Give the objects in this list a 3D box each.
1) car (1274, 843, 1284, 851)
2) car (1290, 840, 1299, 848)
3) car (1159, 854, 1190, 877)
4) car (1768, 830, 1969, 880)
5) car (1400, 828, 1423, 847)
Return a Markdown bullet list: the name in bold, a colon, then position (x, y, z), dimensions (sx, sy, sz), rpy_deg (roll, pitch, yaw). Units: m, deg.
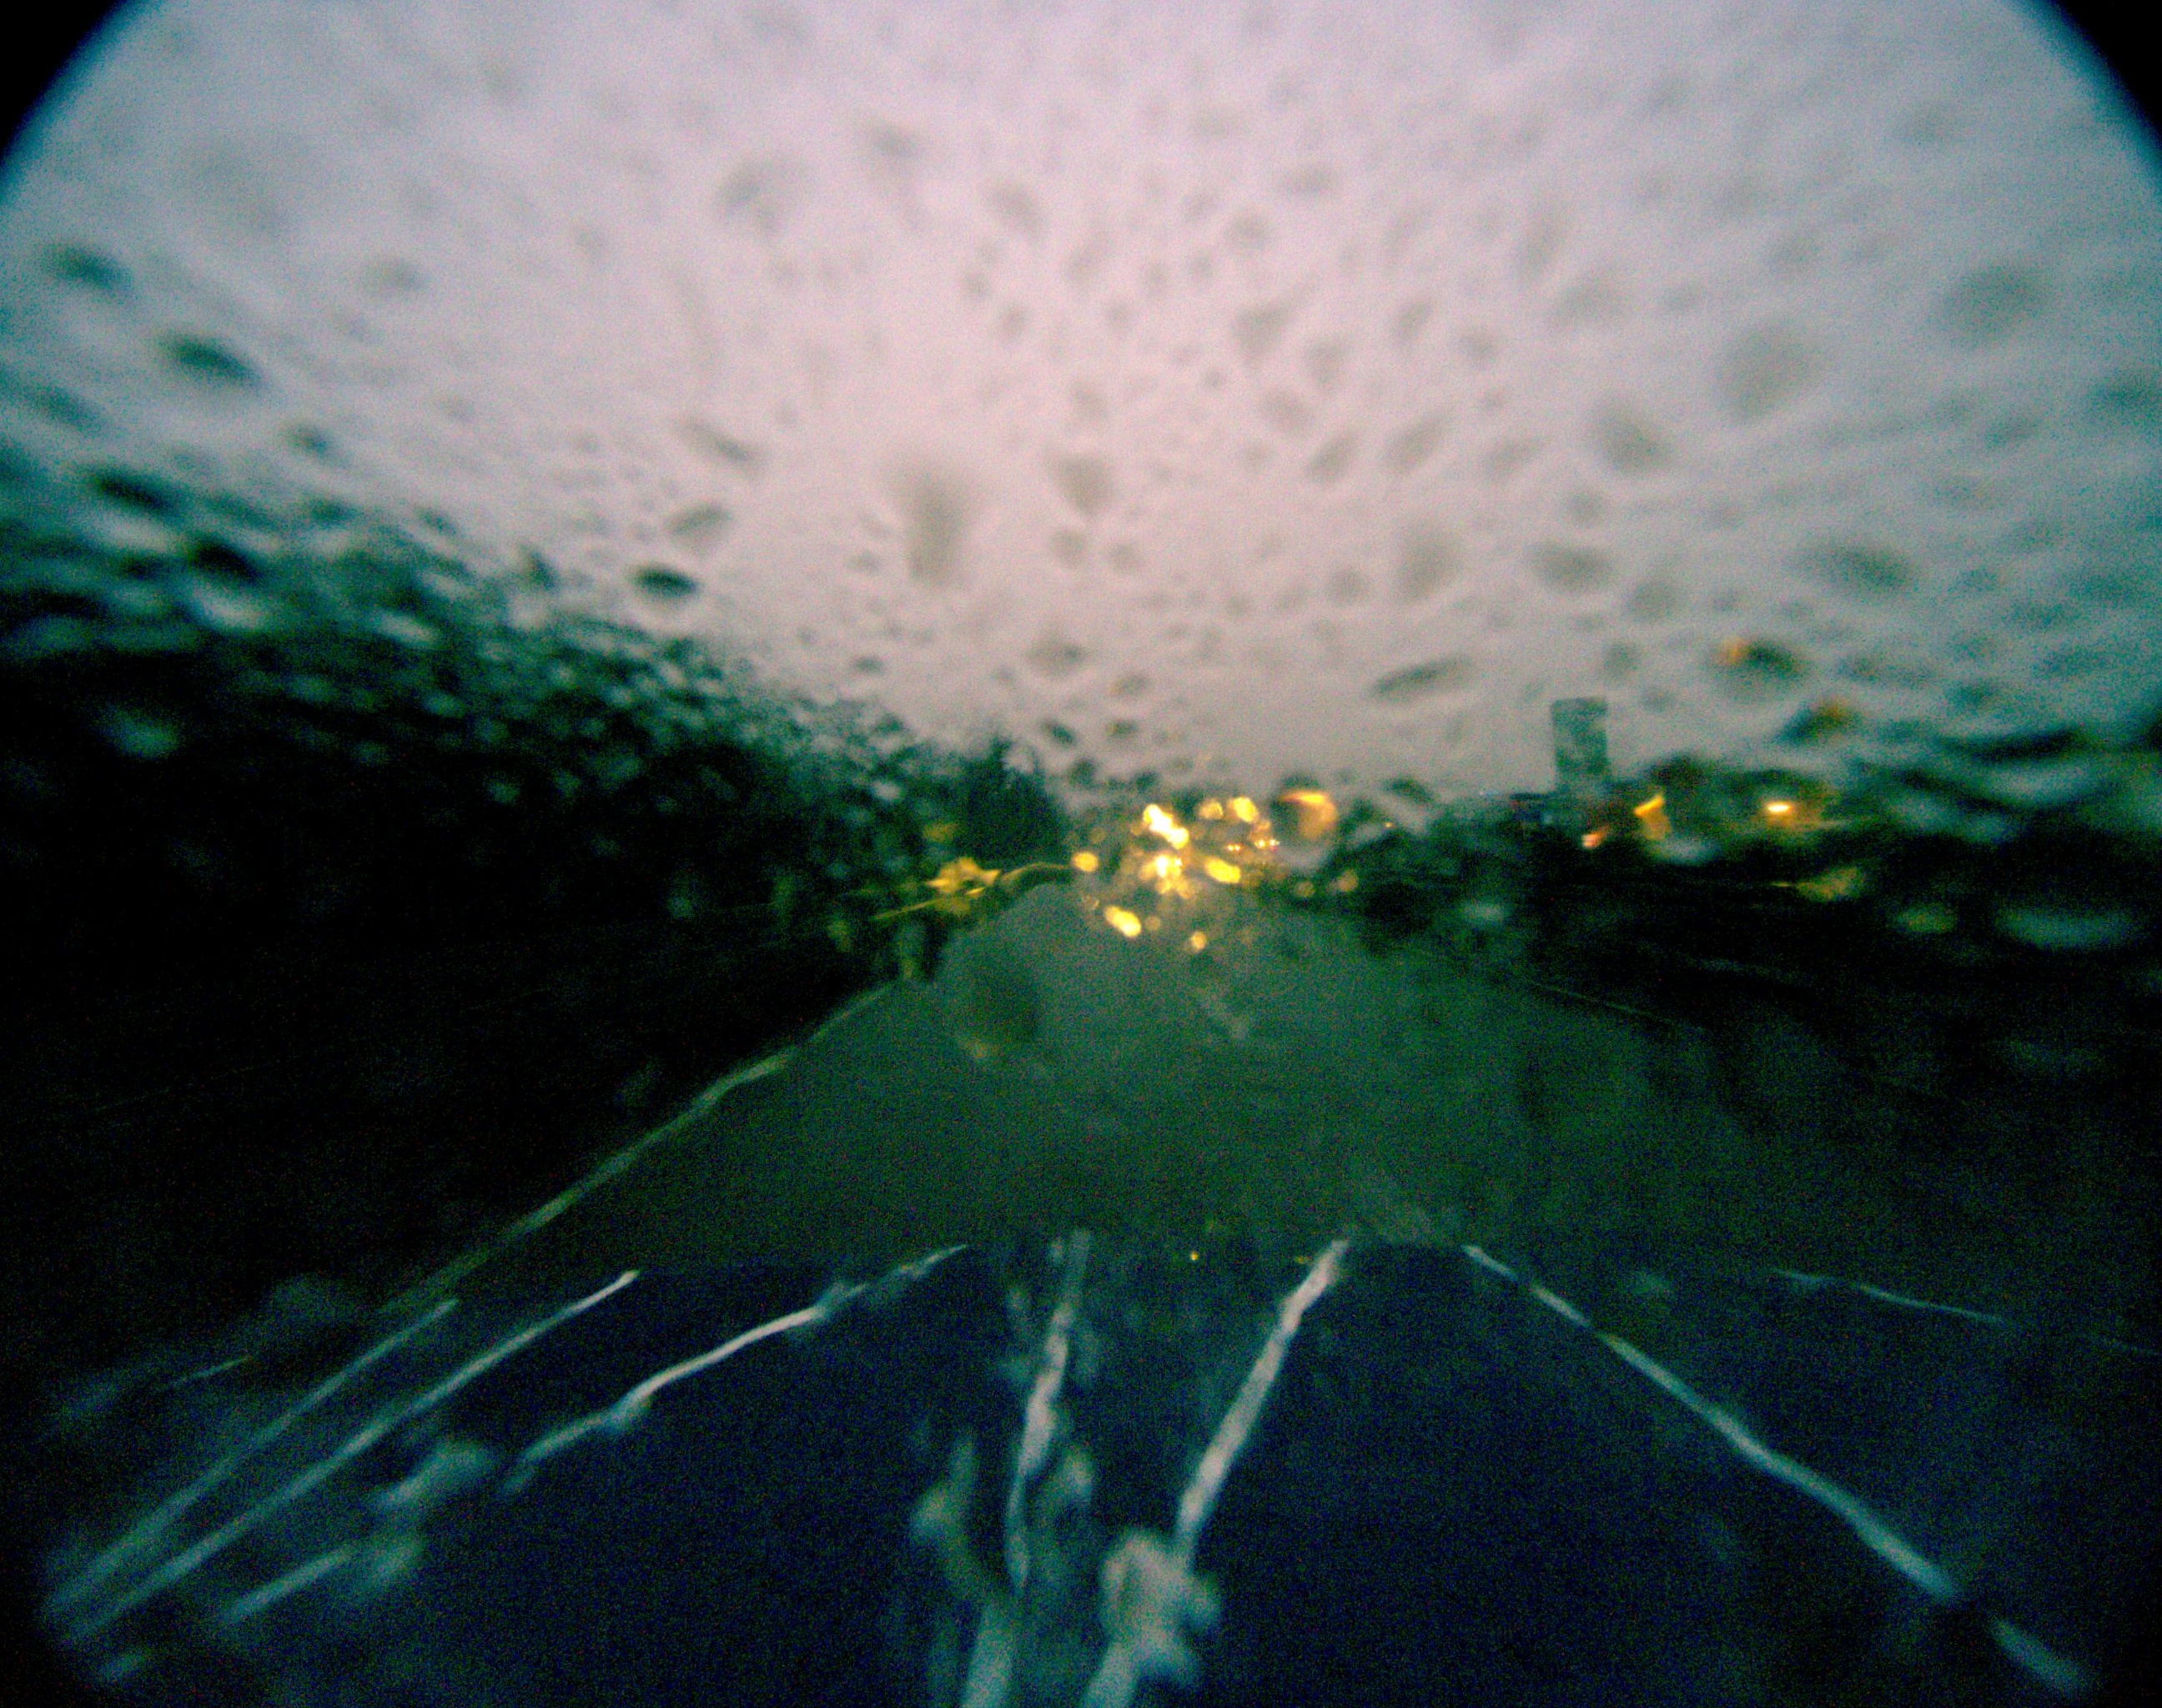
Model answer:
- **car**: position (37.102, -1.234, 142.175), dimensions (1.673, 1.412, 4.086), rpy_deg (-1, 1, 18)
- **car**: position (50.451, -2.378, 179.352), dimensions (1.996, 1.663, 4.433), rpy_deg (-1, 1, 15)
- **car**: position (9.436, 1.184, 76.610), dimensions (1.996, 2.002, 4.005), rpy_deg (-4, 1, 23)
- **car**: position (34.998, 0.015, 34.168), dimensions (1.999, 2.002, 6.488), rpy_deg (-1, 1, -5)
- **car**: position (58.758, -3.022, 134.975), dimensions (3.194, 3.192, 9.954), rpy_deg (1, 2, 26)
